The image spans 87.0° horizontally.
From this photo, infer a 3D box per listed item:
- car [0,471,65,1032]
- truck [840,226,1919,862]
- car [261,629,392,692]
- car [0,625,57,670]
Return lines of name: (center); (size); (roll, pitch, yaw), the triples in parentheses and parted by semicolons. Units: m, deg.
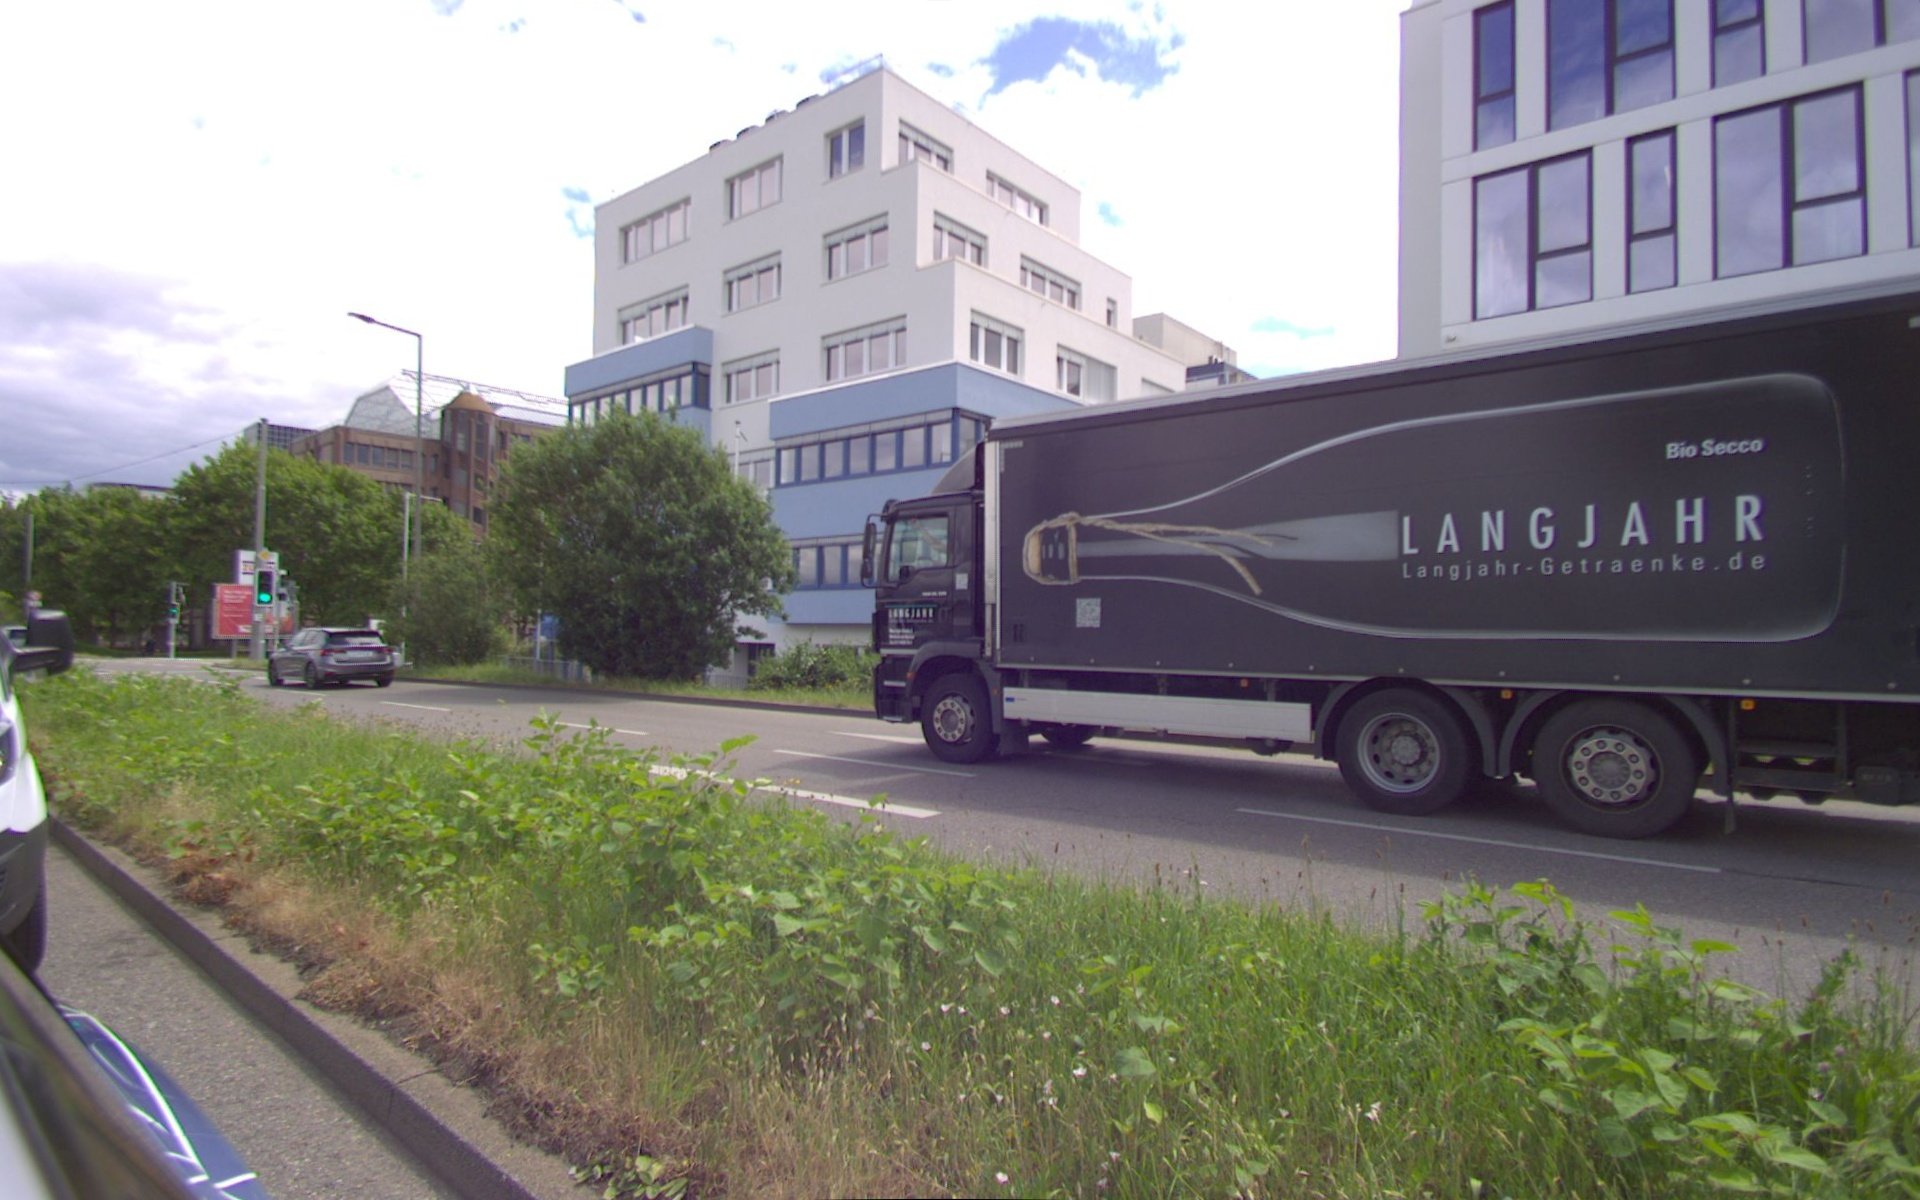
car: (-5.787, 0.576, 4.612); (5.052, 1.965, 1.942); (-2, -1, 41)
truck: (3.300, -0.191, 9.411); (9.518, 3.545, 3.135); (-2, -2, 40)
car: (-15.244, 1.417, 24.297); (3.775, 1.393, 1.538); (-2, -2, 39)
car: (-31.183, 1.531, 33.371); (3.634, 1.441, 1.671); (-1, -2, 41)
